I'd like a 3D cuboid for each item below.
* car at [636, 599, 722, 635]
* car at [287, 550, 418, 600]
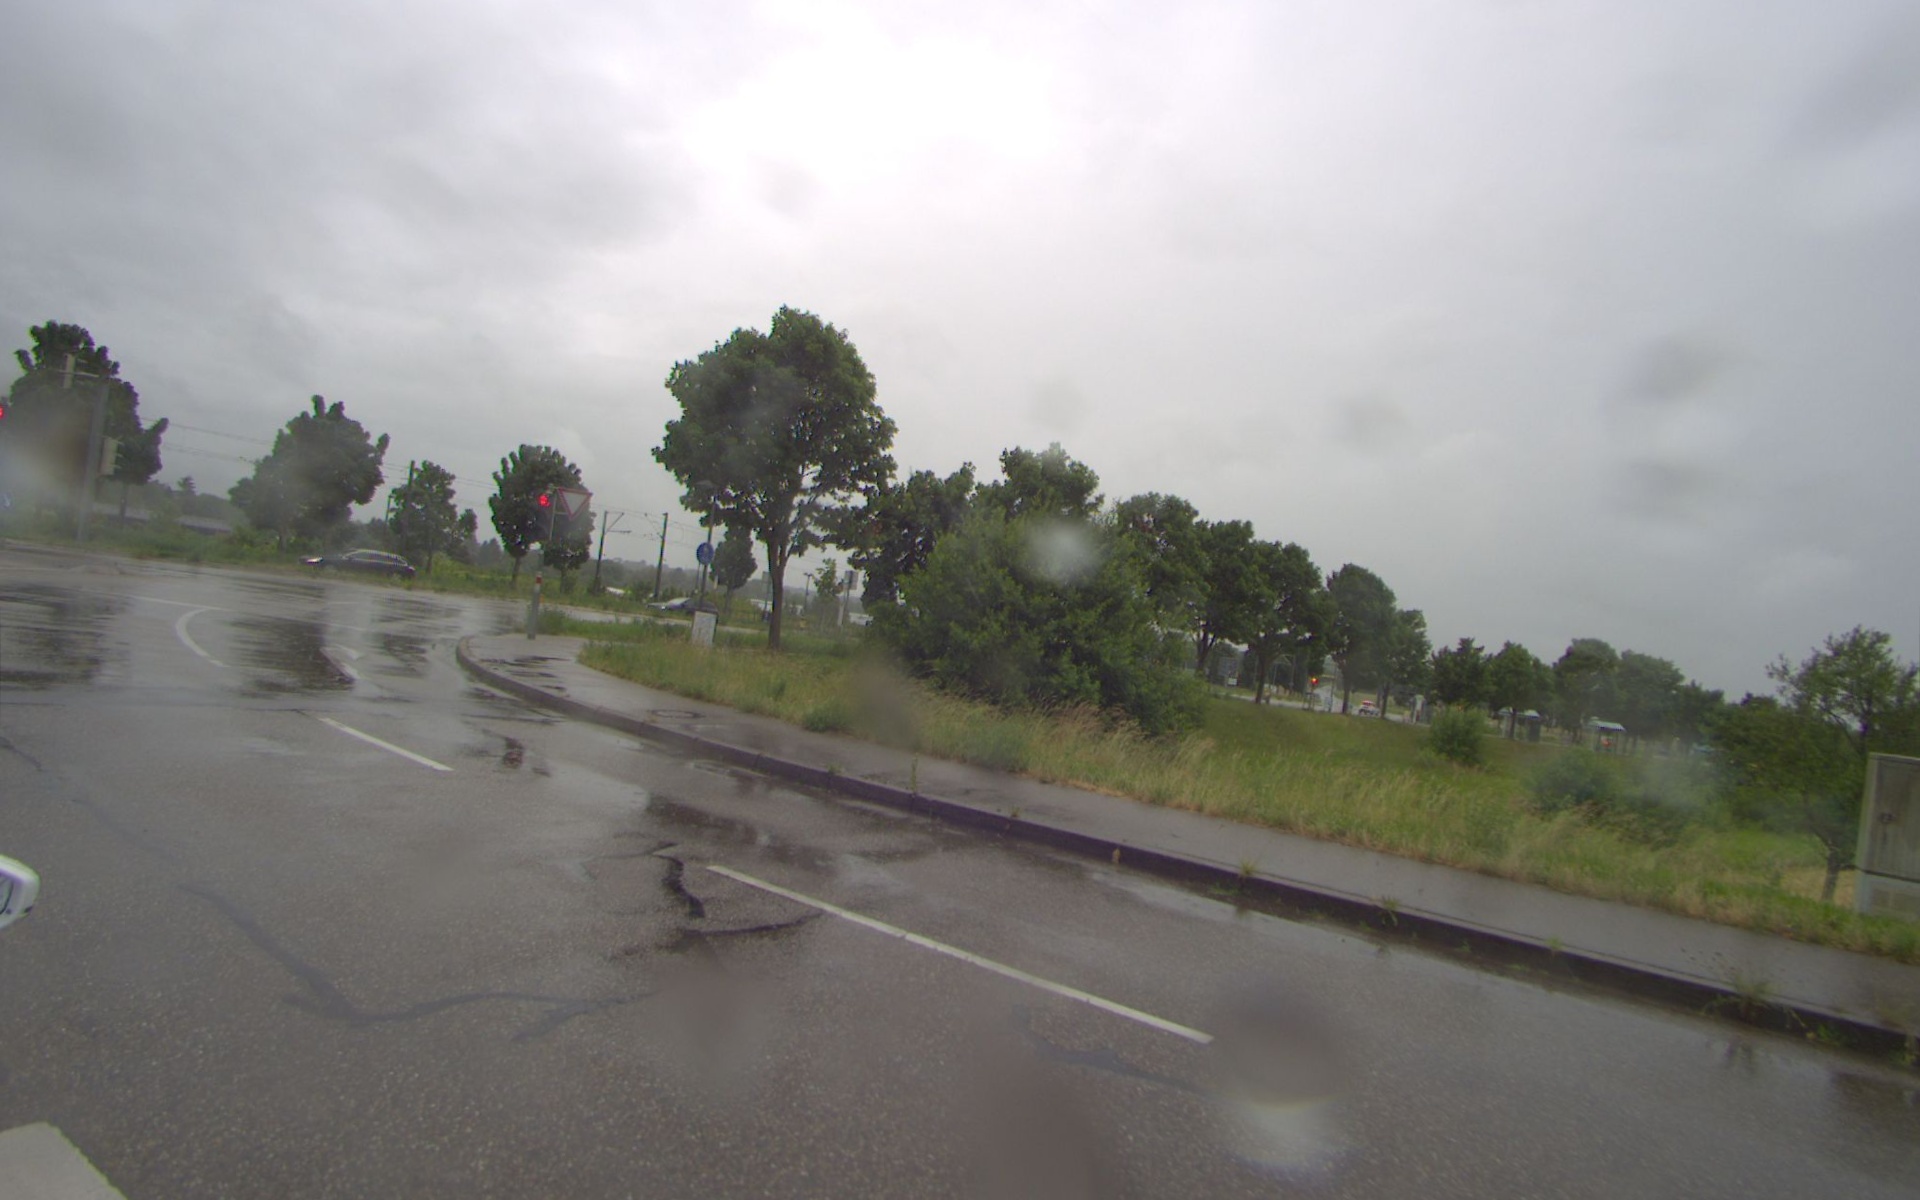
[{"bbox_3d":[-16.741,1.061,60.169,1.796,1.572,4.667,7,-1,40],"label":"car"},{"bbox_3d":[-27.580,-1.112,45.815,1.793,1.572,4.674,7,-1,34],"label":"car"}]
